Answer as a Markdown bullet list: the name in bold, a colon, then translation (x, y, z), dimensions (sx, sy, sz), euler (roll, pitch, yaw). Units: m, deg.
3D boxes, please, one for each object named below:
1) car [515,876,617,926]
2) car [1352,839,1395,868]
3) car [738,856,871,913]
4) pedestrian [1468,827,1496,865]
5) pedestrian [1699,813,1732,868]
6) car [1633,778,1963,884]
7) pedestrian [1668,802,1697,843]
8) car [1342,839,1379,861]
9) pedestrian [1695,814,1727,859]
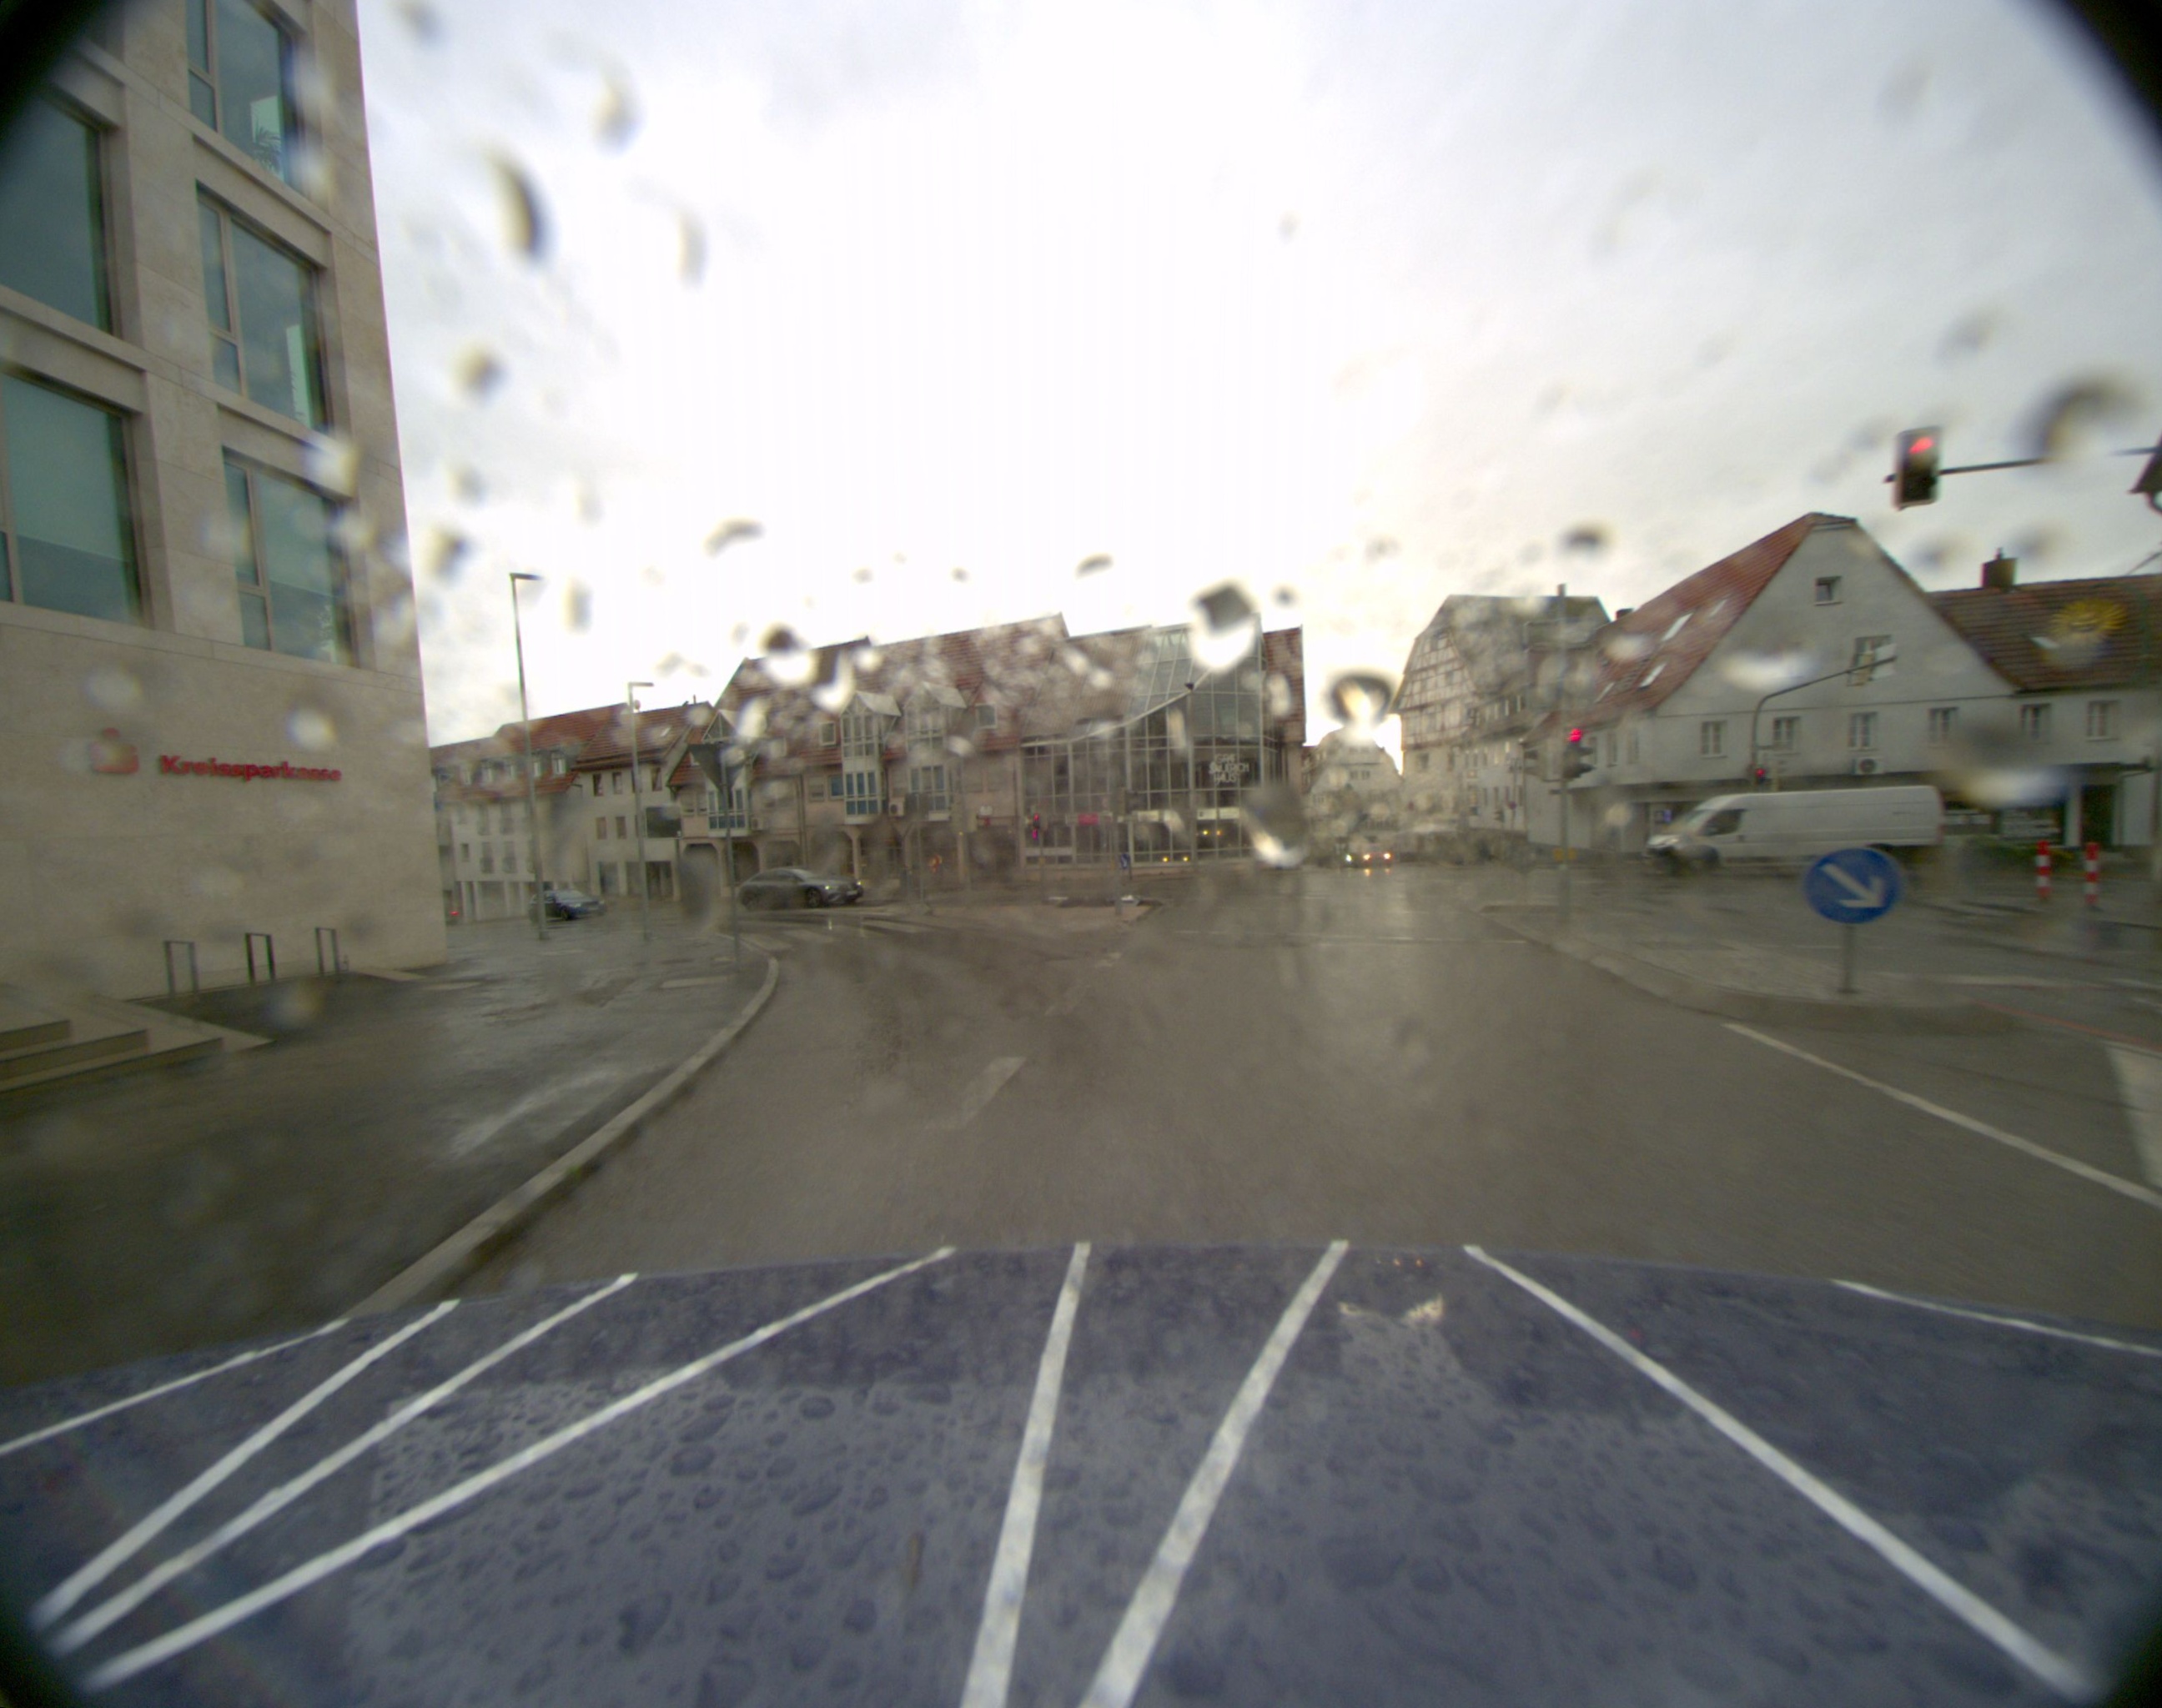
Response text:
- **car**: translation (-24.063, 2.183, 35.490), dimensions (4.374, 1.760, 1.971), euler (-7, 1, 29)
- **car**: translation (17.166, -0.062, 44.745), dimensions (1.742, 1.498, 3.686), euler (-4, 1, 12)
- **car**: translation (-10.040, 1.120, 27.503), dimensions (4.611, 1.549, 1.971), euler (-6, 1, 32)
- **pedestrian**: translation (20.889, -0.412, 39.546), dimensions (0.786, 1.927, 0.982), euler (-5, 1, -41)
- **pedestrian**: translation (21.937, -0.460, 26.285), dimensions (0.633, 1.861, 0.537), euler (-3, 1, 14)
- **car**: translation (20.671, -0.591, 22.460), dimensions (6.543, 2.611, 2.599), euler (-3, 0, 22)
- **pedestrian**: translation (23.087, -1.203, 29.170), dimensions (0.633, 1.550, 0.595), euler (-3, 1, 14)
- **car**: translation (18.299, -0.260, 49.919), dimensions (1.742, 1.281, 3.234), euler (-4, 1, 12)
- **pedestrian**: translation (22.630, -0.636, 27.311), dimensions (0.633, 1.550, 0.595), euler (-3, 1, 14)
